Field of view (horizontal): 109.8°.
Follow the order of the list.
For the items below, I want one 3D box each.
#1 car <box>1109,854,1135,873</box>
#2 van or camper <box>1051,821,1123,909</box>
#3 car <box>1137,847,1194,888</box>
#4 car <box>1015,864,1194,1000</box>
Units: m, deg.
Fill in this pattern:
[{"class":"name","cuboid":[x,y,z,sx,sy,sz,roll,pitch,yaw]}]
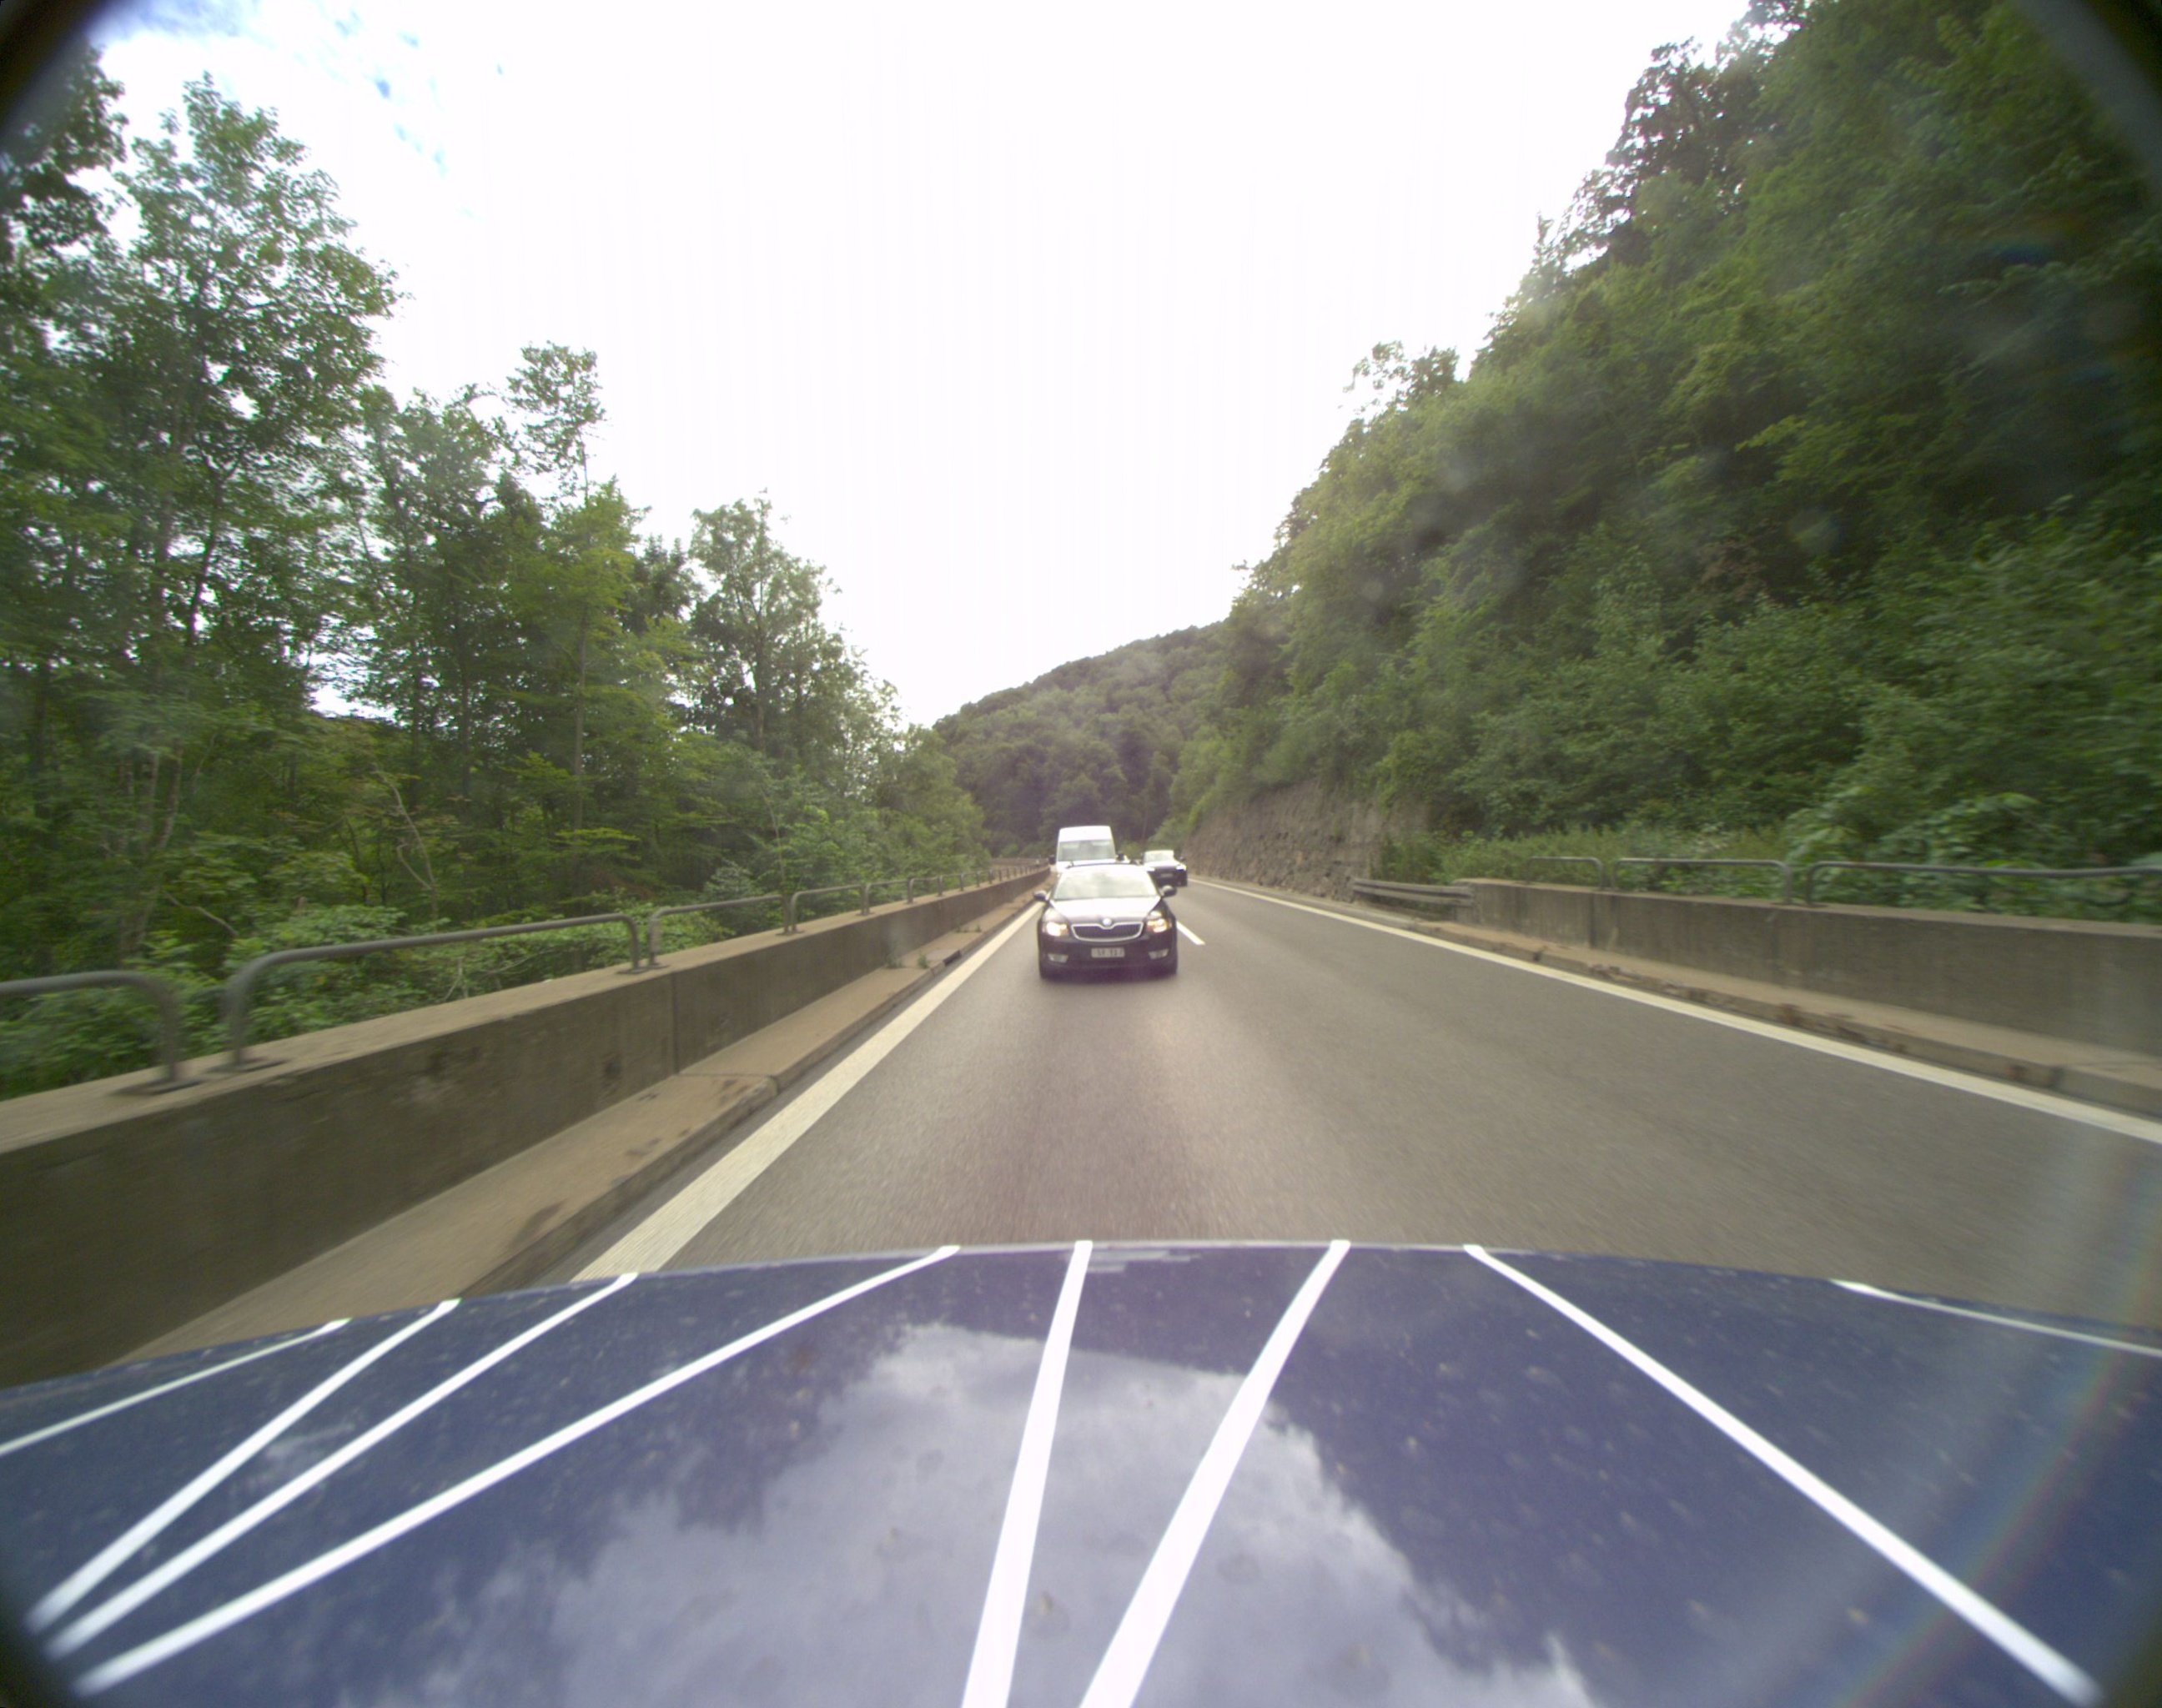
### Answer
[{"class":"car","cuboid":[3.515,0.804,65.609,1.686,1.506,4.581,-2,0,-3]},{"class":"van or camper","cuboid":[0.246,0.354,26.077,2.081,2.575,5.912,-3,0,1]},{"class":"car","cuboid":[3.763,0.576,34.676,1.998,1.622,5.008,-4,0,1]},{"class":"car","cuboid":[0.329,0.939,11.295,1.998,1.389,5.008,-3,0,1]}]
